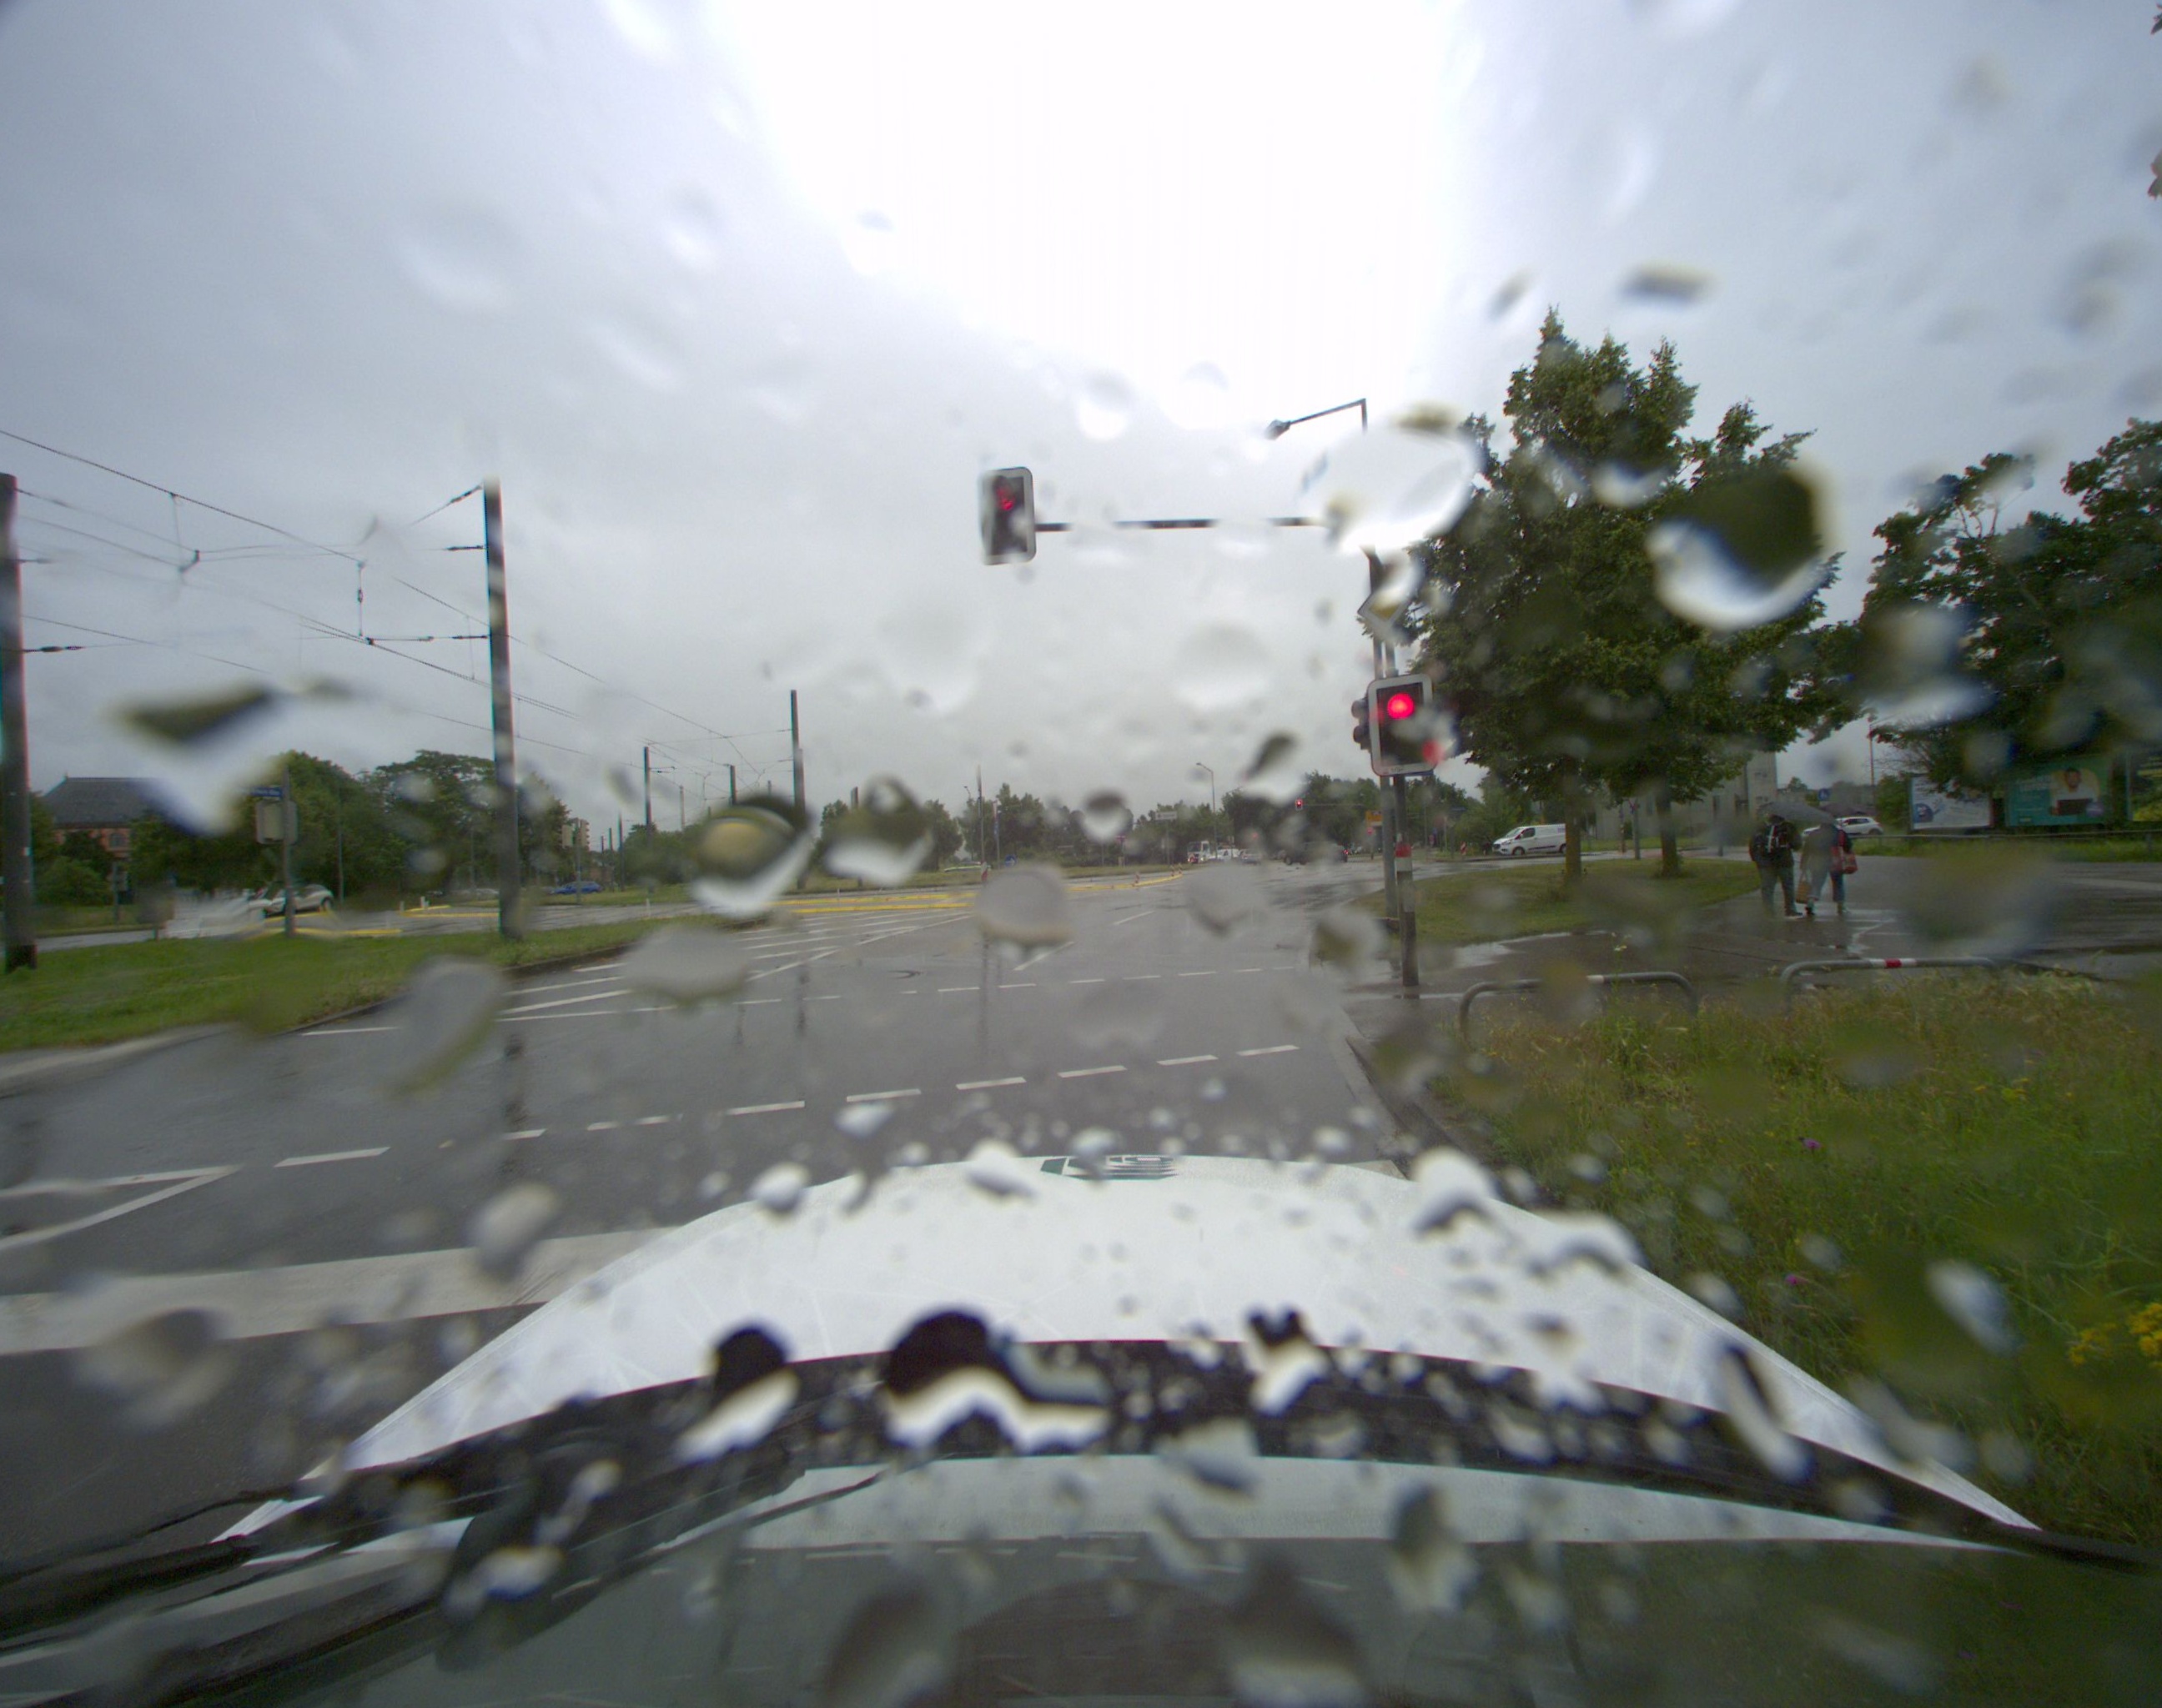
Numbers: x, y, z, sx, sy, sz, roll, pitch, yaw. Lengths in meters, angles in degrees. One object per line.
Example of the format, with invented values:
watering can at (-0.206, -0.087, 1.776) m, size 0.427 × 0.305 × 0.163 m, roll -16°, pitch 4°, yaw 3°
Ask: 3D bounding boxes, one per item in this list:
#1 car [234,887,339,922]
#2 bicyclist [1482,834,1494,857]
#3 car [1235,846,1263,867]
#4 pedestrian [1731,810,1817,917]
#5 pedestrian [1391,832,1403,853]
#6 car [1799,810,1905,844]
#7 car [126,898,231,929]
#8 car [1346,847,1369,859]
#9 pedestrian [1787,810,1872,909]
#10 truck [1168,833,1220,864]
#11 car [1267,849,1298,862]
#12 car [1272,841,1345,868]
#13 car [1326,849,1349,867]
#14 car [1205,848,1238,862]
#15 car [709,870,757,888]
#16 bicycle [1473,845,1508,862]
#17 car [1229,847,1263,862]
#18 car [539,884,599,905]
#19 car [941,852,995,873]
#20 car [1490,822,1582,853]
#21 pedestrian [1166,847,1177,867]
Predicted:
car at (-40.440, 2.540, 41.597) m, size 1.616 × 1.454 × 4.103 m, roll -2°, pitch 0°, yaw -7°
bicyclist at (31.501, -0.635, 63.036) m, size 0.498 × 1.742 × 0.585 m, roll 0°, pitch -1°, yaw -29°
car at (14.883, 0.246, 72.506) m, size 1.983 × 1.851 × 4.784 m, roll 0°, pitch -1°, yaw 6°
pedestrian at (10.135, 0.135, 11.934) m, size 0.619 × 1.522 × 0.741 m, roll -1°, pitch 0°, yaw 0°
pedestrian at (27.974, -1.021, 72.058) m, size 0.811 × 1.868 × 0.670 m, roll 0°, pitch -1°, yaw 9°
car at (48.989, -1.700, 51.829) m, size 4.741 × 1.851 × 2.001 m, roll -3°, pitch 0°, yaw 2°
car at (-53.366, 3.494, 48.215) m, size 1.602 × 1.454 × 4.013 m, roll -3°, pitch 0°, yaw 36°
car at (40.390, -0.105, 118.858) m, size 1.779 × 1.662 × 4.024 m, roll -1°, pitch -1°, yaw 43°
pedestrian at (11.545, 0.085, 12.575) m, size 0.678 × 1.461 × 0.573 m, roll -3°, pitch -1°, yaw -3°
truck at (10.396, -0.412, 74.038) m, size 2.439 × 2.686 × 8.105 m, roll -1°, pitch -1°, yaw 25°
car at (25.270, 0.216, 101.945) m, size 1.779 × 1.662 × 4.436 m, roll -1°, pitch -1°, yaw 43°
car at (16.570, 0.055, 59.493) m, size 2.011 × 1.851 × 4.717 m, roll 1°, pitch -1°, yaw -44°
car at (22.281, 0.369, 70.855) m, size 1.606 × 1.454 × 4.003 m, roll -2°, pitch 0°, yaw 14°
car at (16.579, 0.159, 95.981) m, size 1.779 × 1.662 × 4.159 m, roll -1°, pitch -1°, yaw 43°
car at (-32.234, 2.264, 75.525) m, size 3.994 × 1.454 × 1.610 m, roll -2°, pitch 0°, yaw -25°
bicycle at (31.598, -0.023, 62.868) m, size 0.573 × 1.314 × 2.486 m, roll 0°, pitch -1°, yaw -29°
car at (19.108, 0.117, 94.337) m, size 1.779 × 1.662 × 4.436 m, roll -1°, pitch -1°, yaw 43°
car at (-43.116, 3.399, 68.569) m, size 4.010 × 1.454 × 1.604 m, roll -2°, pitch 0°, yaw -42°
car at (-10.954, 0.799, 79.031) m, size 4.720 × 1.851 × 2.010 m, roll -2°, pitch 0°, yaw 20°
car at (28.742, -1.004, 51.561) m, size 4.741 × 1.851 × 2.001 m, roll 0°, pitch -1°, yaw 2°
pedestrian at (6.054, 0.224, 54.331) m, size 0.448 × 1.304 × 0.489 m, roll -3°, pitch -1°, yaw 40°
